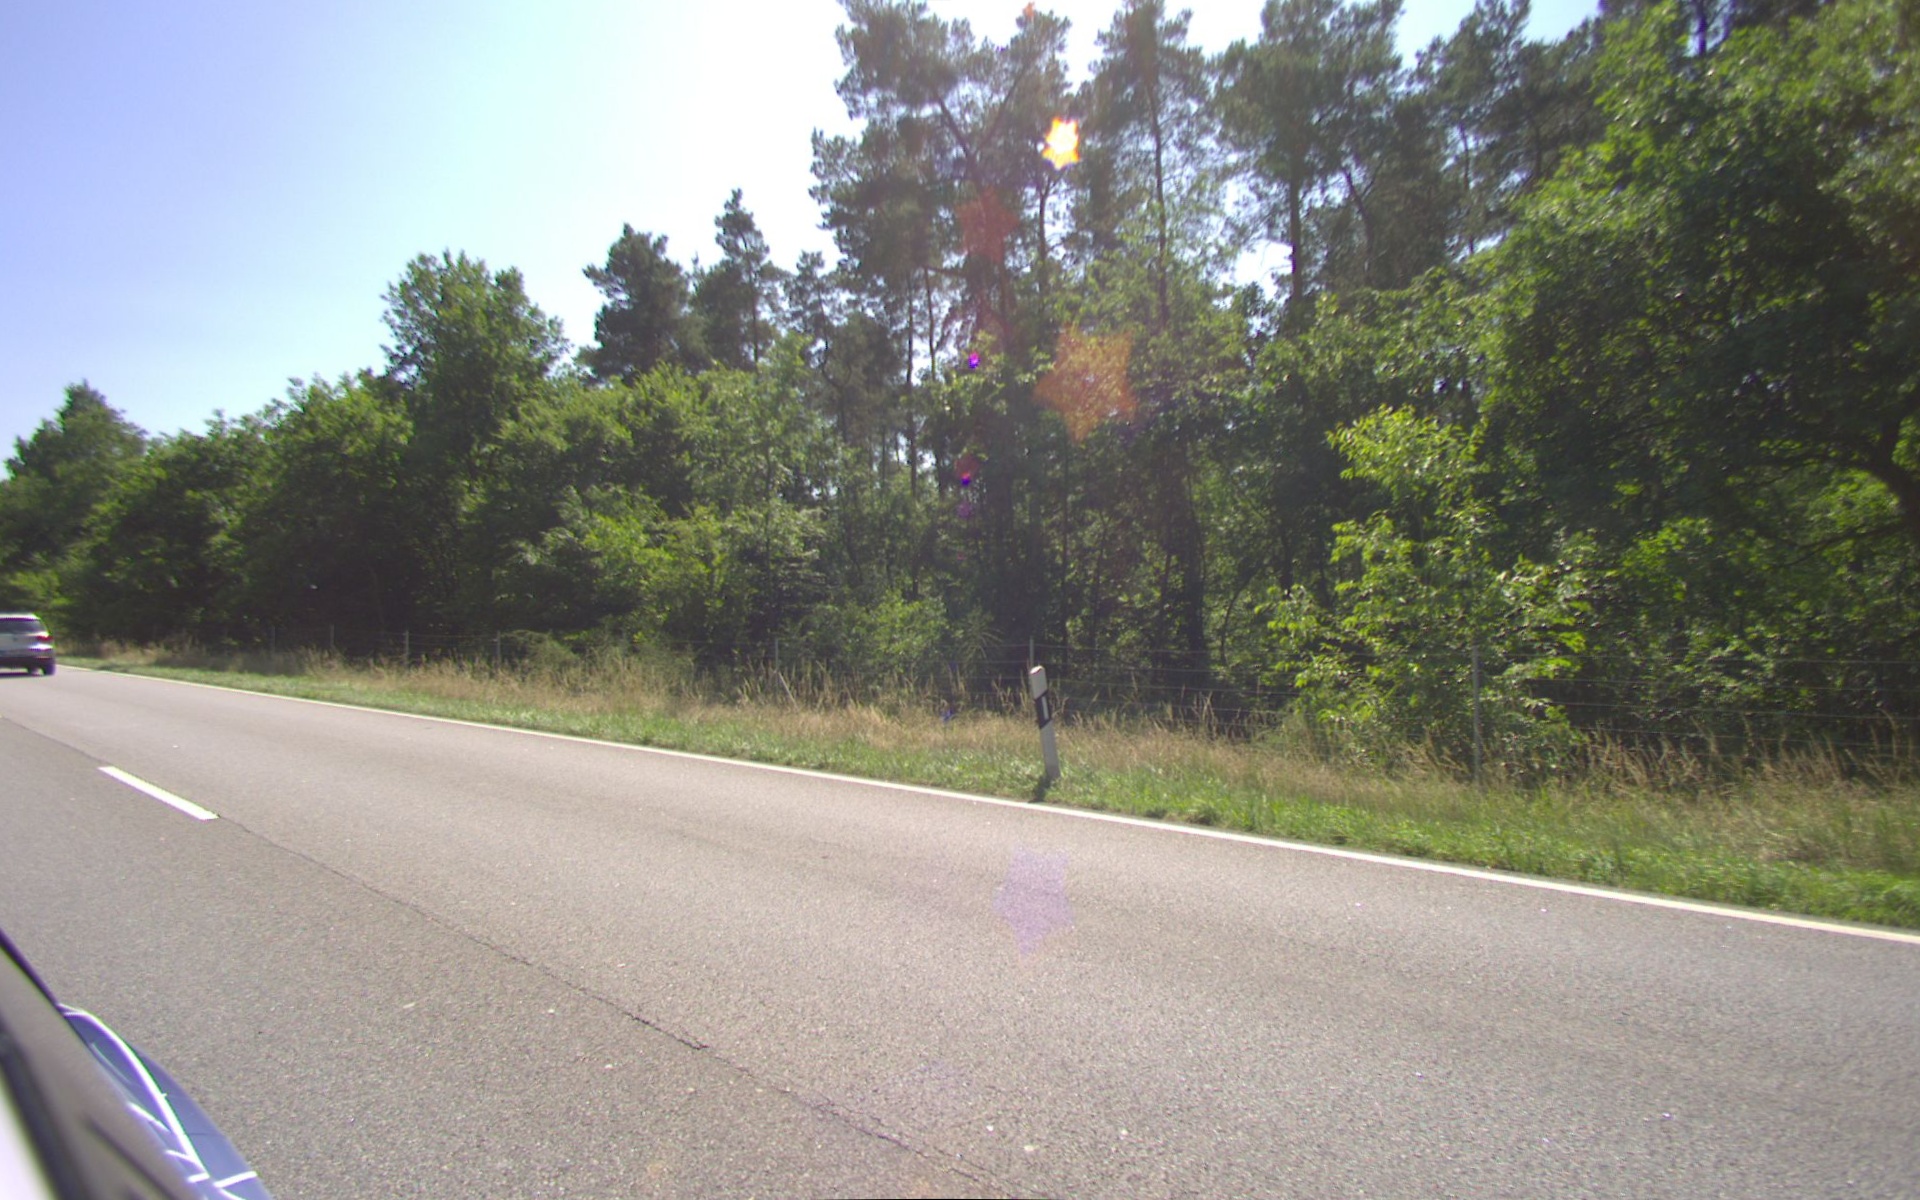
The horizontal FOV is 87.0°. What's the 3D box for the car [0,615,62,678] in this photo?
[{"bbox_3d":[-26.080,1.244,27.493,4.088,1.641,1.845,-2,-2,39],"label":"car"}]
